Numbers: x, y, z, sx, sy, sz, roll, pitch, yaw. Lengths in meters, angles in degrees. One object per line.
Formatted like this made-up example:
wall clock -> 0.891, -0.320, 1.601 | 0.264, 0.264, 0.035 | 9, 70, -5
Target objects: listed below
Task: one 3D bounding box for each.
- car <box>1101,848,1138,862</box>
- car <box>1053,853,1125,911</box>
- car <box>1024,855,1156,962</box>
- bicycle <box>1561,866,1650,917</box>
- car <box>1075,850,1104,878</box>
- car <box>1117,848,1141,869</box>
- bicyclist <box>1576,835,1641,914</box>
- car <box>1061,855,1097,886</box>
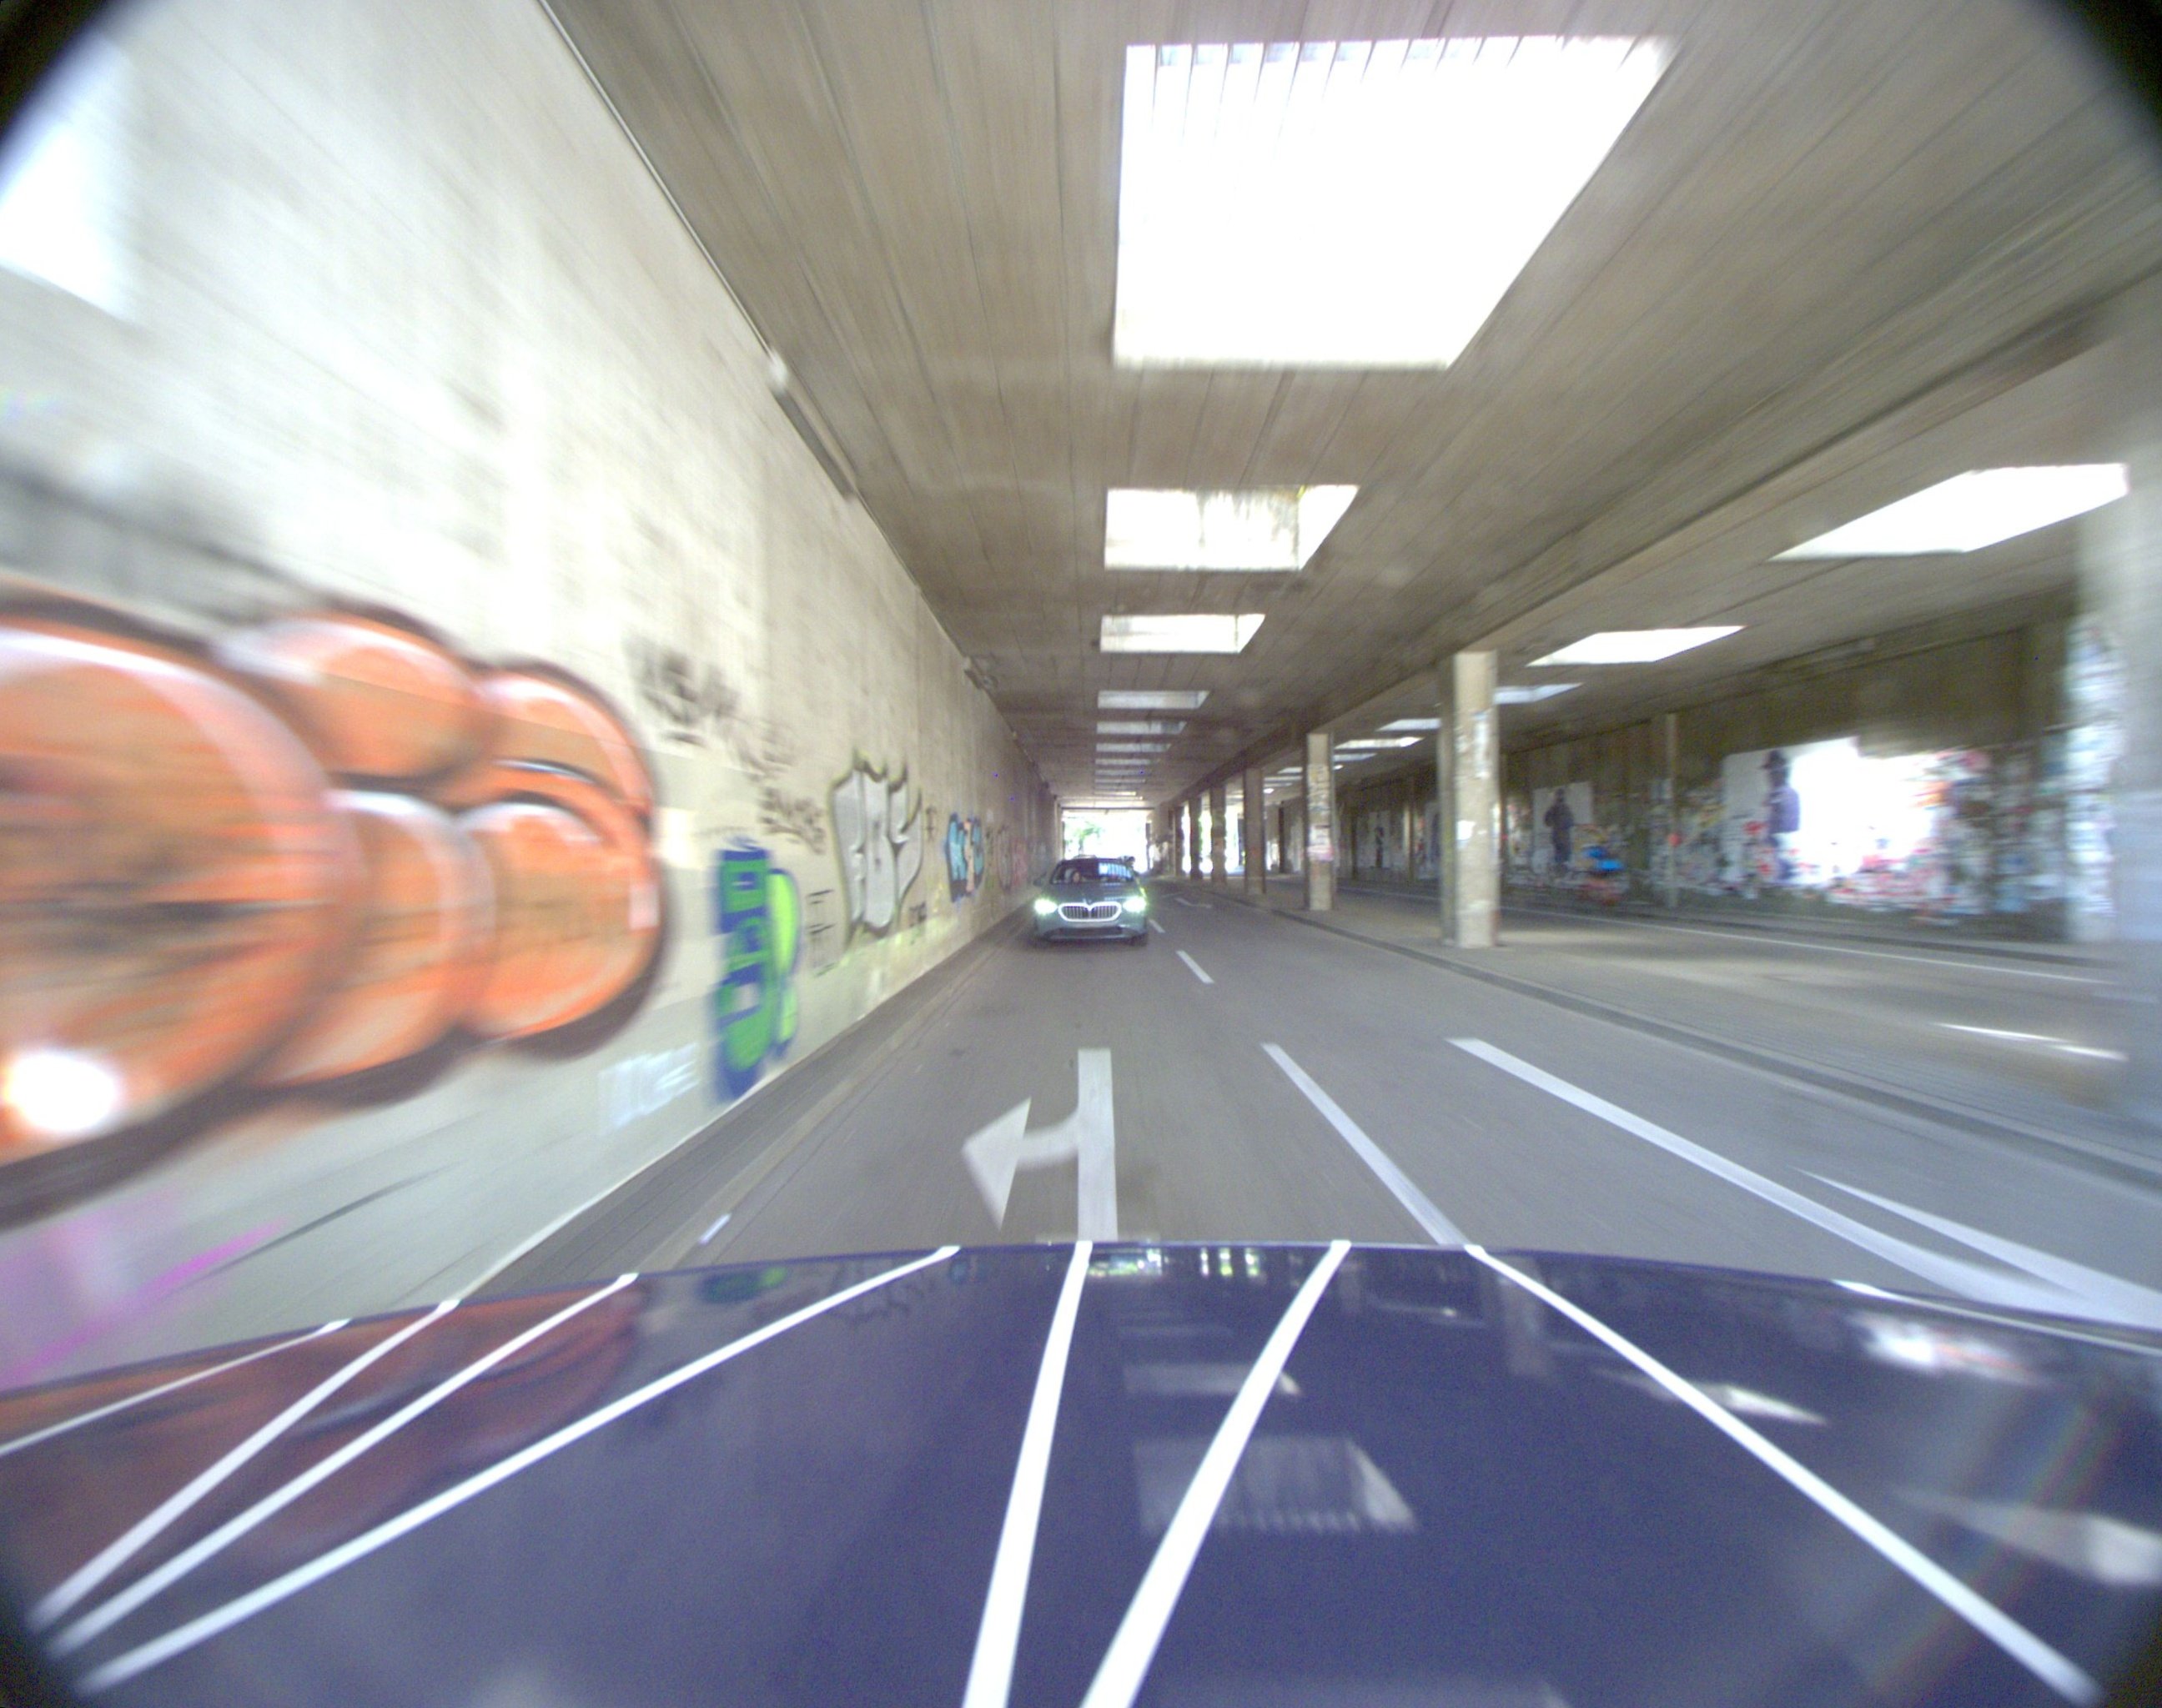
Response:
car -> 4.694, 0.107, 92.830 | 4.331, 1.712, 1.859 | -1, 1, 0
car -> 0.285, 0.775, 22.915 | 1.957, 1.546, 4.248 | -1, 0, 2
car -> 0.216, 0.825, 13.920 | 1.957, 1.546, 5.040 | -1, 0, 2
bicycle -> 11.710, 0.826, 17.039 | 0.700, 1.083, 1.860 | -1, -2, 1
car -> 0.537, 0.536, 44.188 | 1.616, 1.546, 4.013 | -1, 0, 2
car -> 3.525, 0.305, 56.455 | 1.616, 1.546, 4.013 | -1, 0, 2
bicyclist -> 11.722, 0.462, 16.925 | 0.747, 1.701, 0.967 | -1, -1, 0
car -> -0.054, 0.781, 37.960 | 1.616, 1.367, 4.199 | -1, 0, 2
